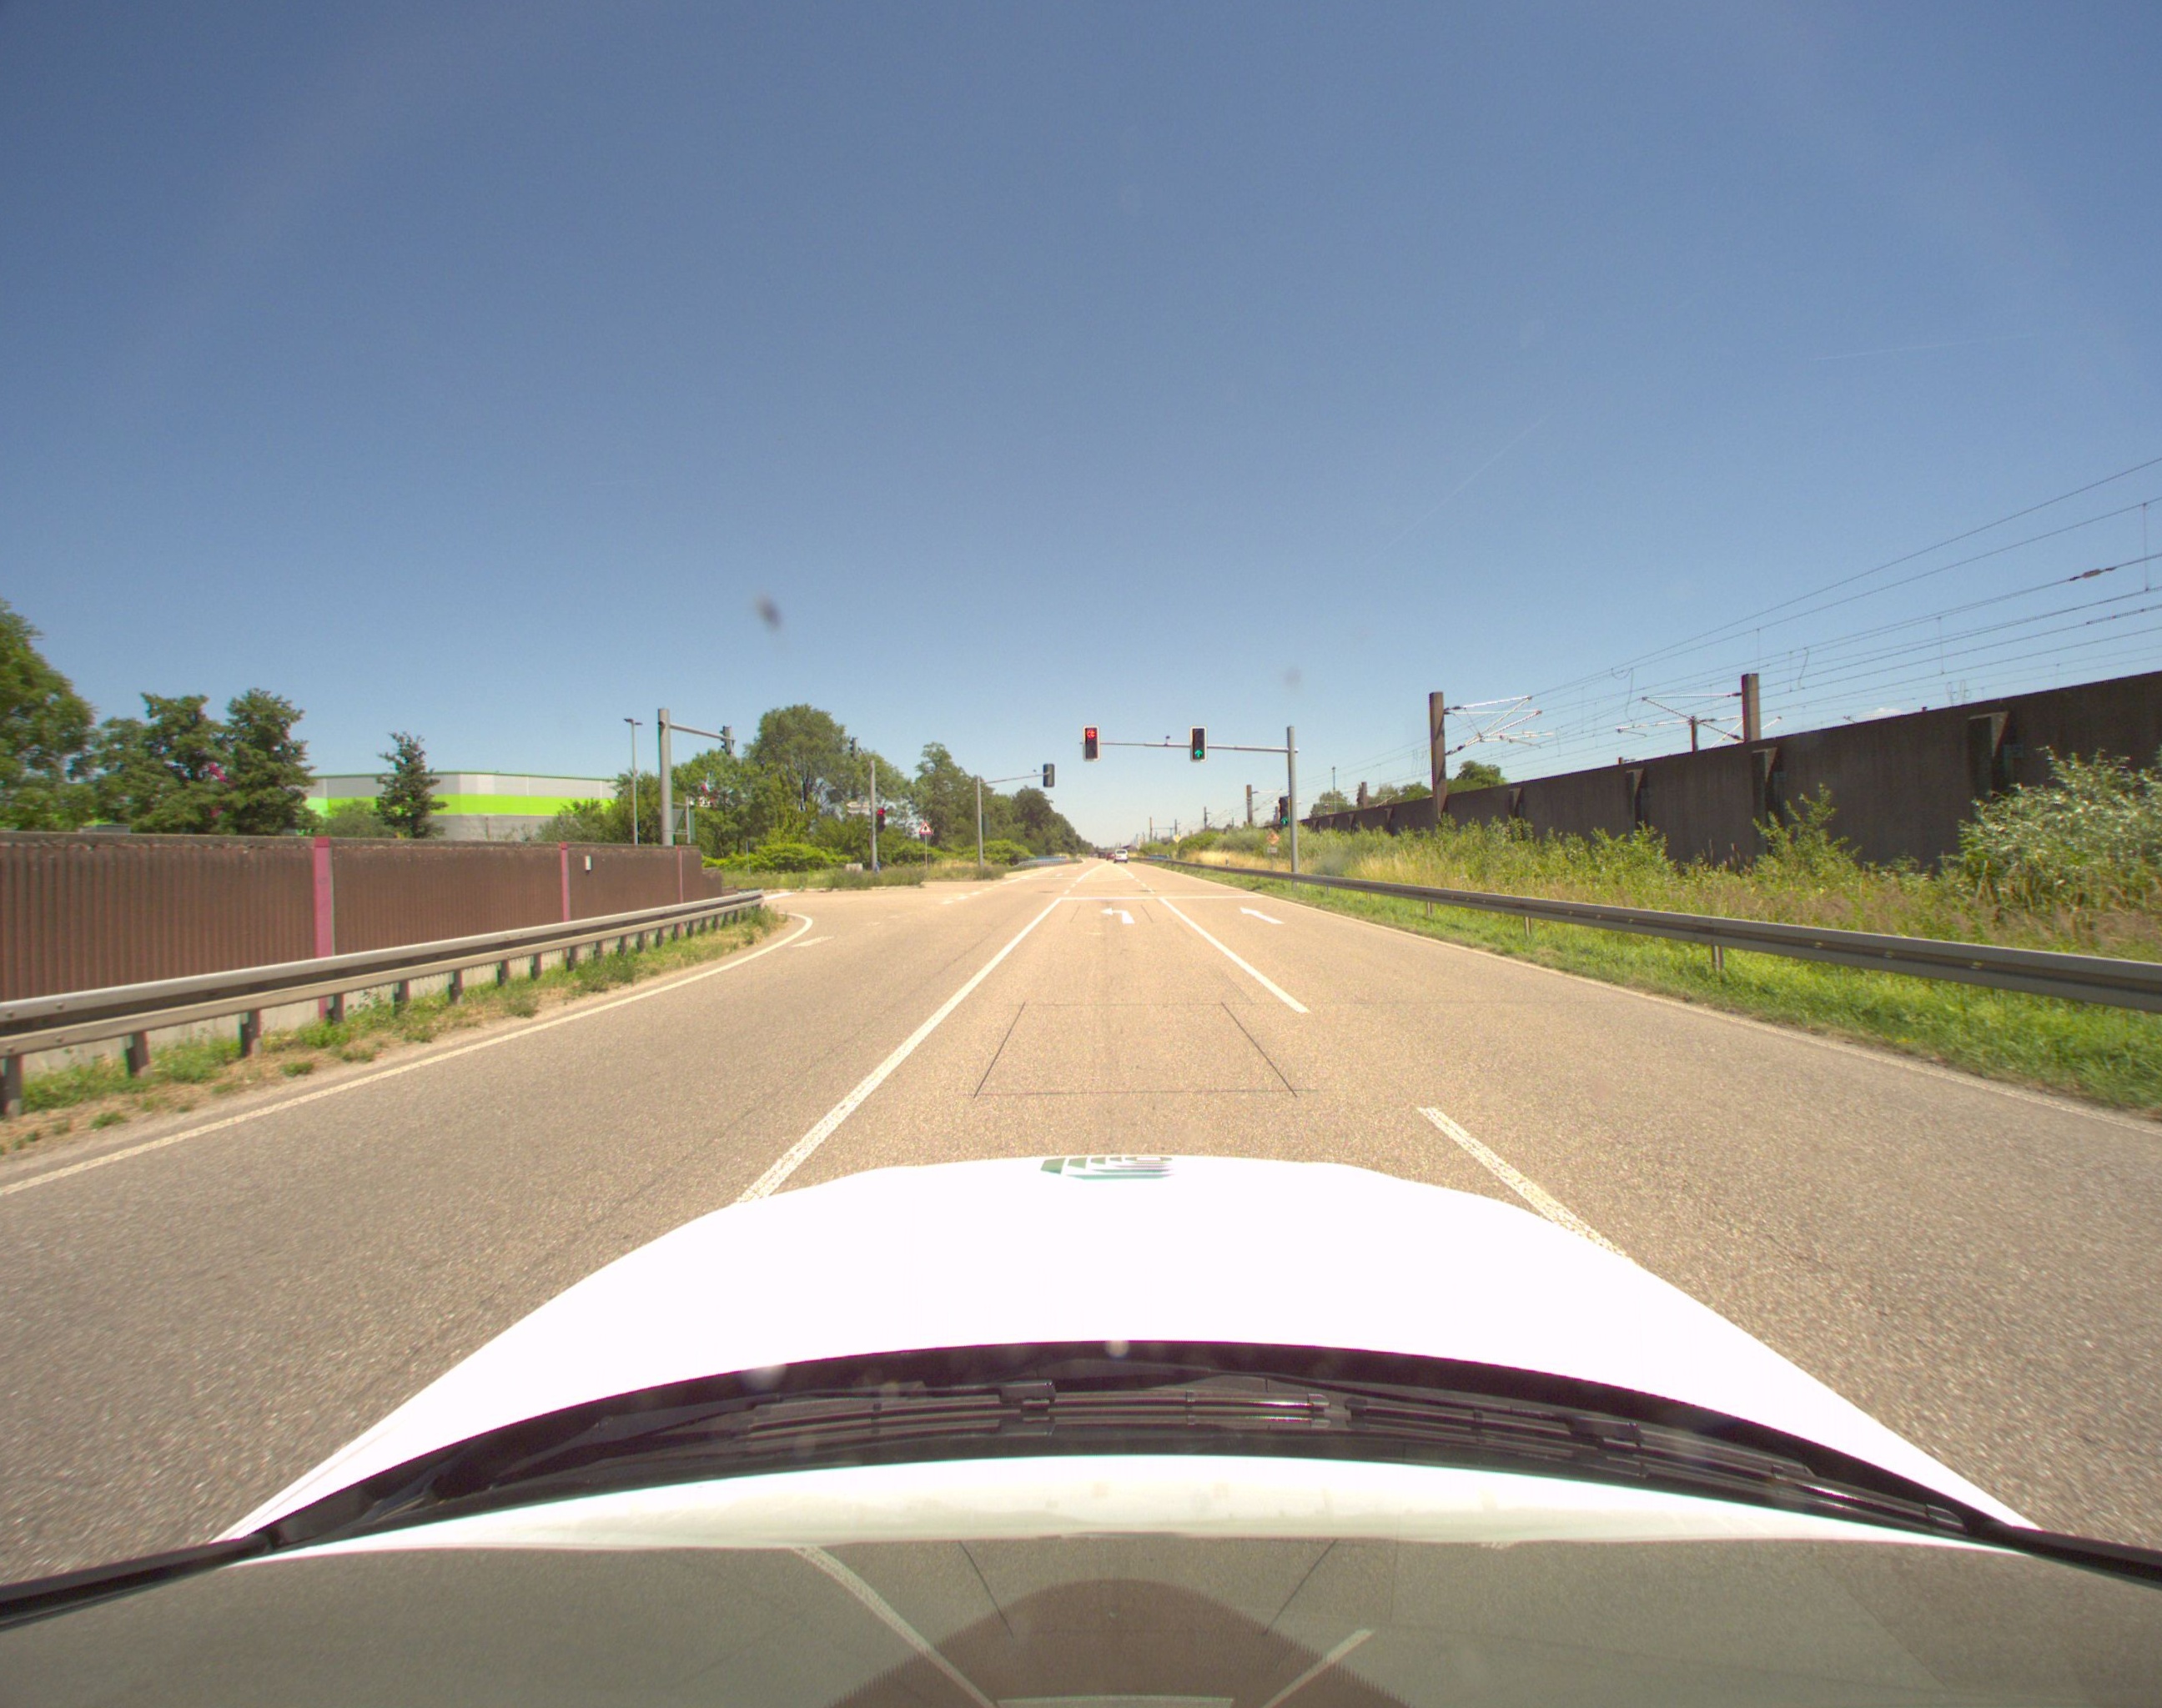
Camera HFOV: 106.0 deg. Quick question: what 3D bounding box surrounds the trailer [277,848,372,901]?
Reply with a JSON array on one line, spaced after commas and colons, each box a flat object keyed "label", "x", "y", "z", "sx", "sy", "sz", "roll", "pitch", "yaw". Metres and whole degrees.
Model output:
[{"label": "trailer", "x": -41.752, "y": 1.094, "z": 44.992, "sx": 3.780, "sy": 2.764, "sz": 1.804, "roll": -1, "pitch": 0, "yaw": -45}]

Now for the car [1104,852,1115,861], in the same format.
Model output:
[{"label": "car", "x": 5.686, "y": 0.406, "z": 161.656, "sx": 2.013, "sy": 1.726, "sz": 4.542, "roll": -1, "pitch": 0, "yaw": 0}]

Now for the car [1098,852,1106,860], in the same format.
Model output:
[{"label": "car", "x": 5.616, "y": 0.489, "z": 218.397, "sx": 2.148, "sy": 1.968, "sz": 4.542, "roll": -1, "pitch": 0, "yaw": 0}]

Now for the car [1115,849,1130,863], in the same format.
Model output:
[{"label": "car", "x": 5.973, "y": 0.308, "z": 117.388, "sx": 1.987, "sy": 1.983, "sz": 4.060, "roll": 0, "pitch": 0, "yaw": 0}]
